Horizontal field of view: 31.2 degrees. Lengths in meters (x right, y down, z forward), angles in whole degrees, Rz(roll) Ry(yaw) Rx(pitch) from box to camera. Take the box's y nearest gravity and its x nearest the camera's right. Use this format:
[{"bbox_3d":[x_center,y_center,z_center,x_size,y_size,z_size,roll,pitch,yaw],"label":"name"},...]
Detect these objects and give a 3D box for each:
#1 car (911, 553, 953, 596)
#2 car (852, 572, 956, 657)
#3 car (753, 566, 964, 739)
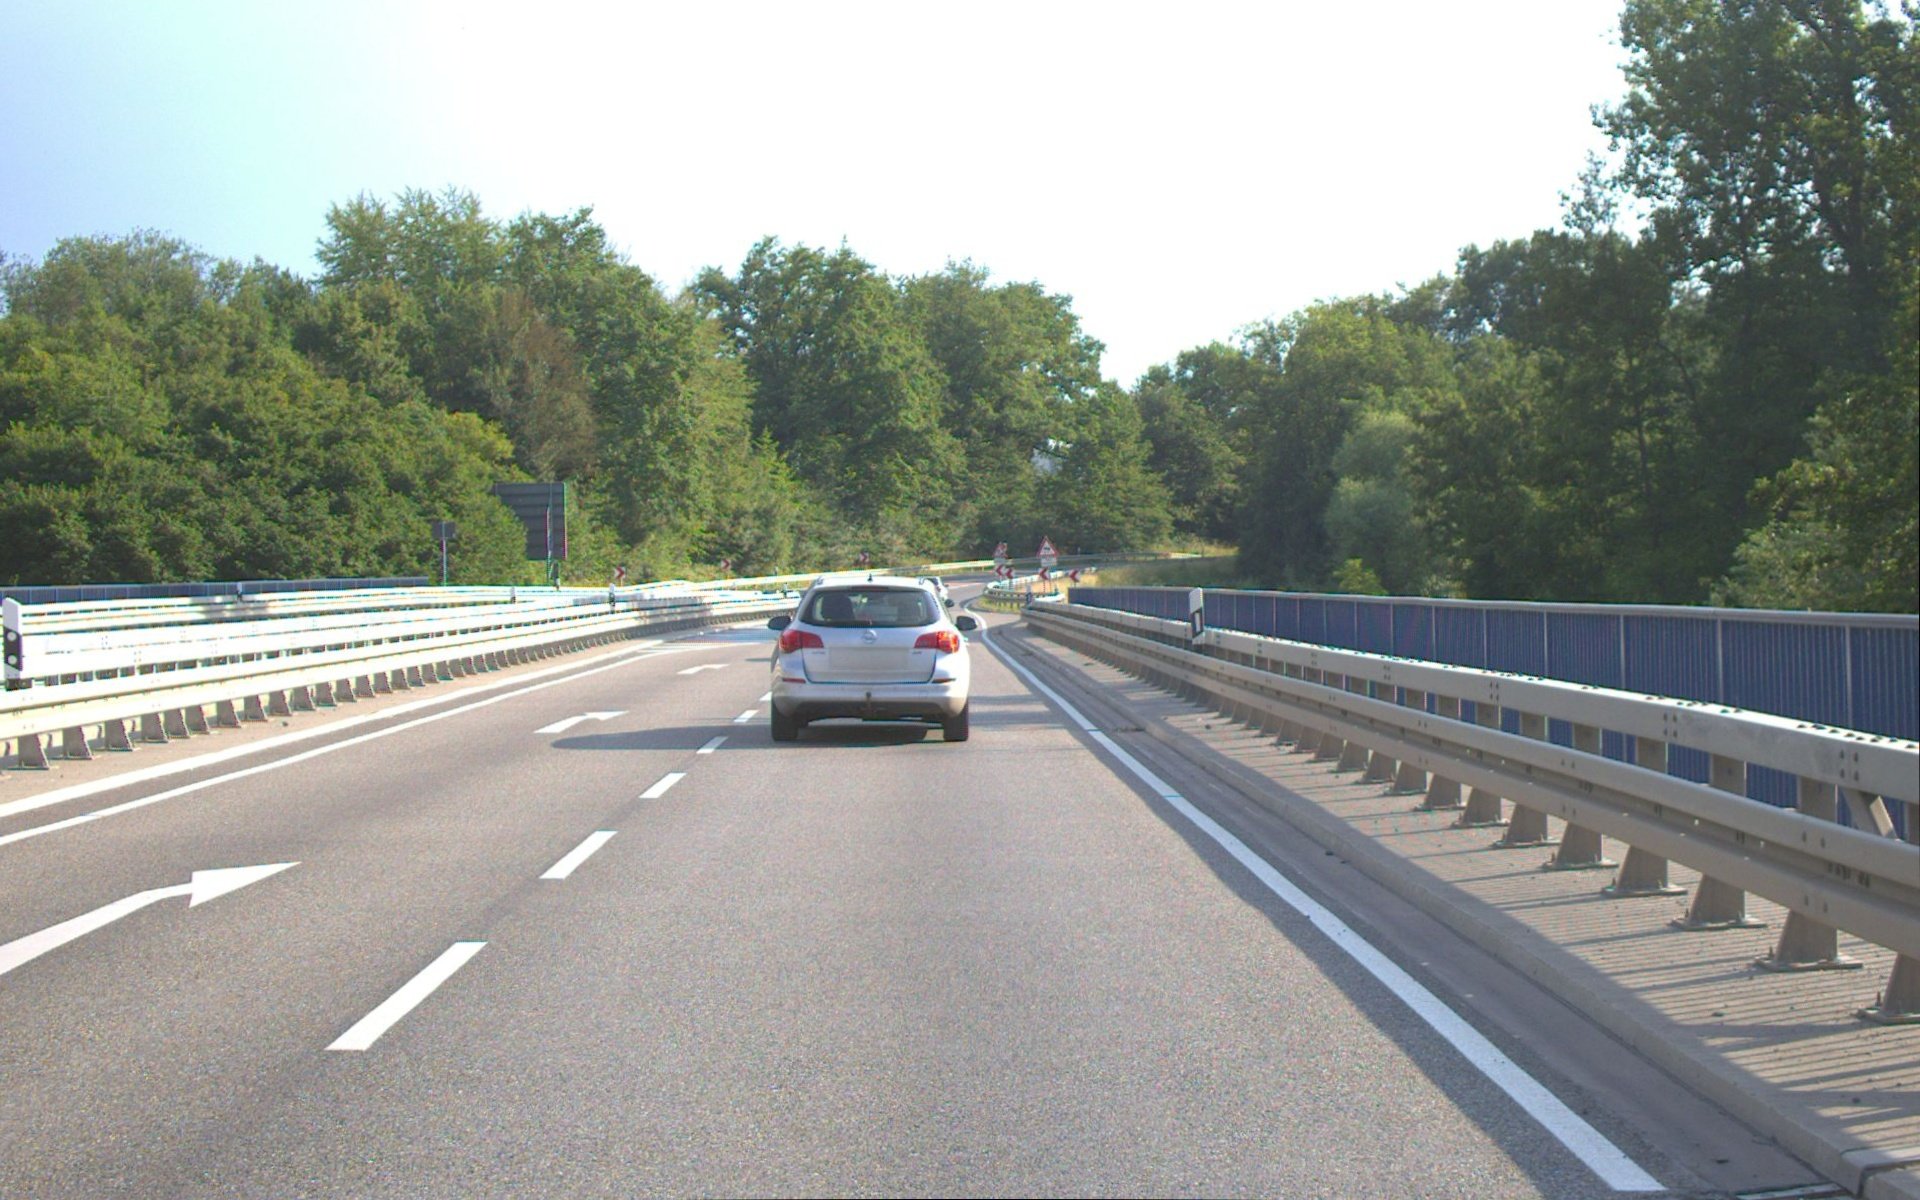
[{"bbox_3d":[-1.359,-1.229,167.216,1.993,2.007,4.000,1,0,0],"label":"car"},{"bbox_3d":[-1.026,0.257,62.560,1.809,1.481,4.000,1,0,-1],"label":"car"},{"bbox_3d":[-0.928,0.460,31.872,1.809,1.481,4.000,1,0,-1],"label":"car"}]
